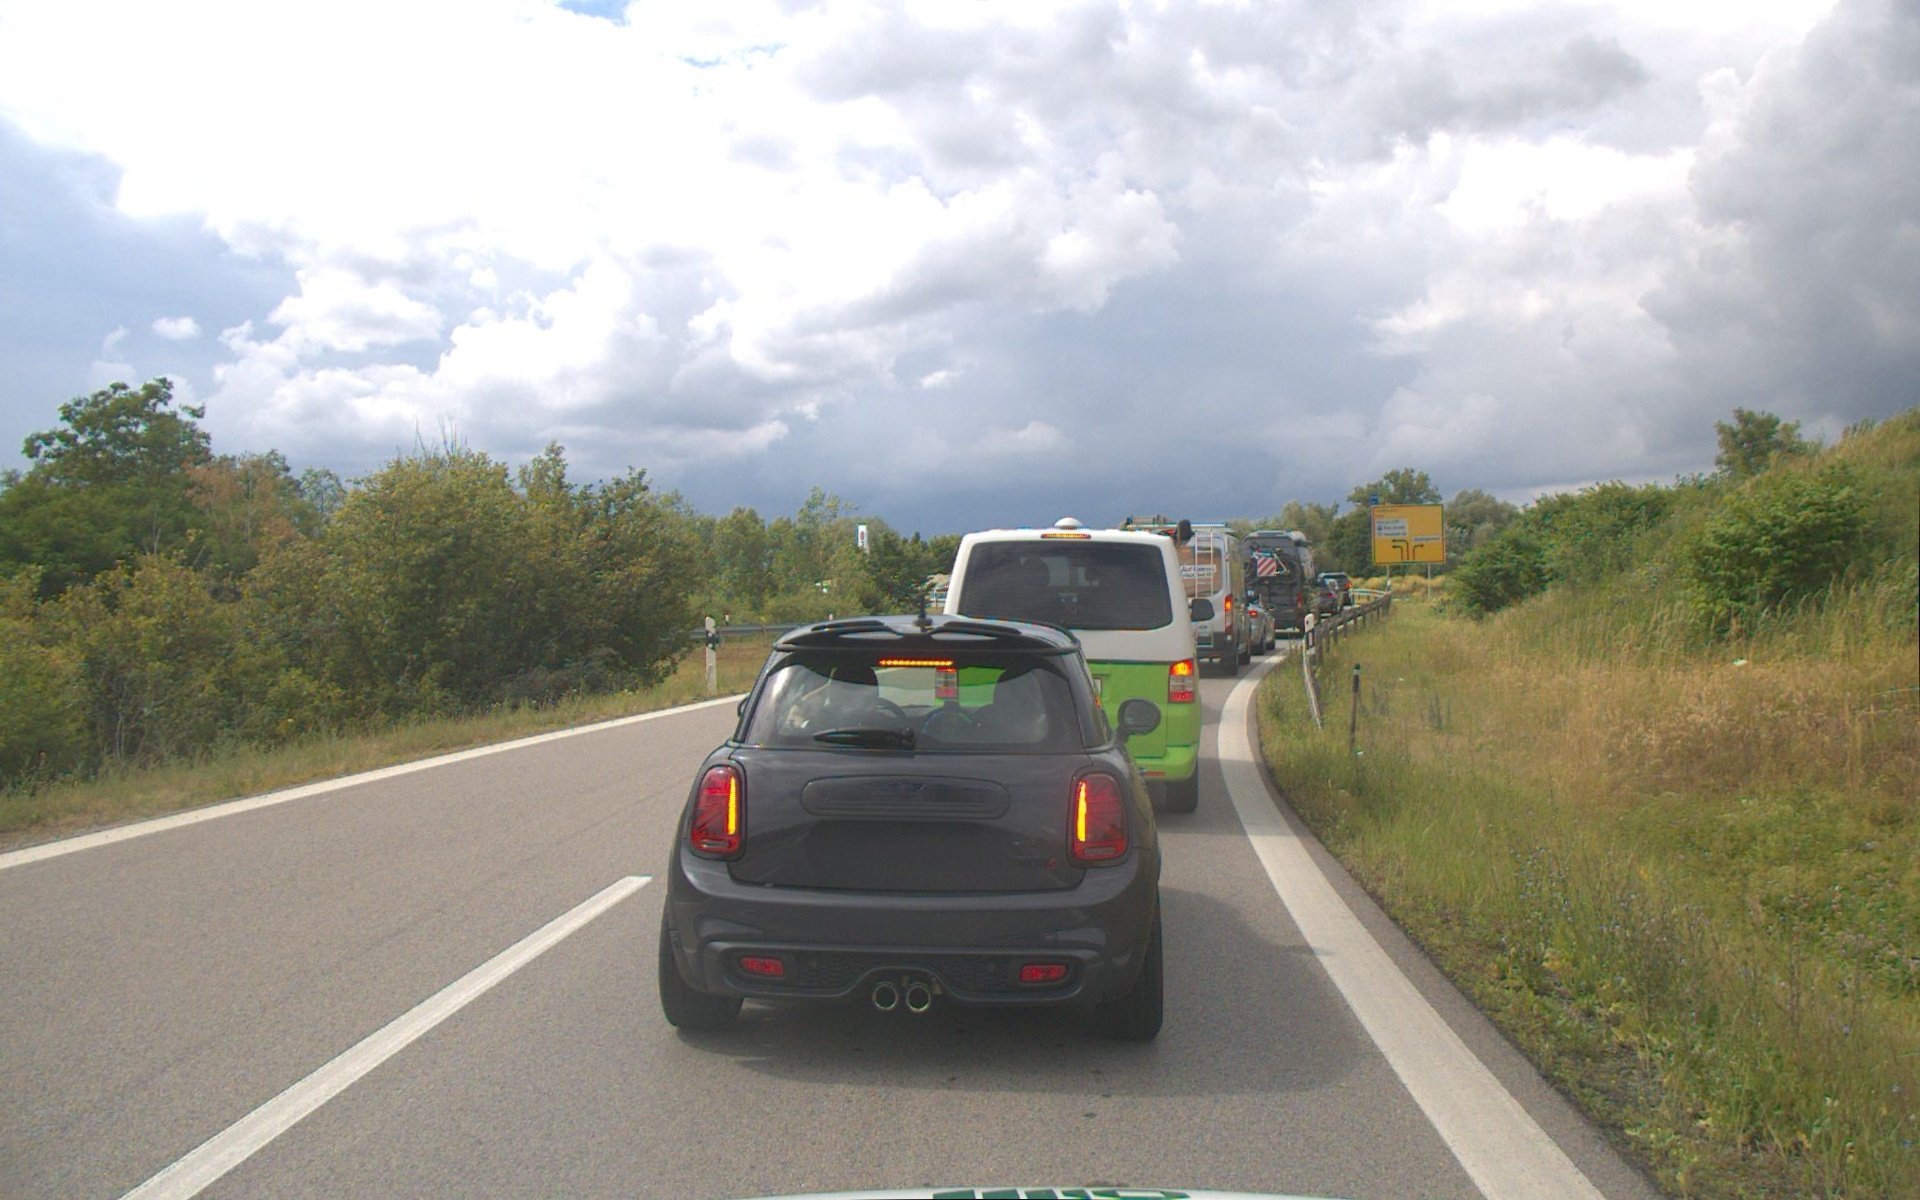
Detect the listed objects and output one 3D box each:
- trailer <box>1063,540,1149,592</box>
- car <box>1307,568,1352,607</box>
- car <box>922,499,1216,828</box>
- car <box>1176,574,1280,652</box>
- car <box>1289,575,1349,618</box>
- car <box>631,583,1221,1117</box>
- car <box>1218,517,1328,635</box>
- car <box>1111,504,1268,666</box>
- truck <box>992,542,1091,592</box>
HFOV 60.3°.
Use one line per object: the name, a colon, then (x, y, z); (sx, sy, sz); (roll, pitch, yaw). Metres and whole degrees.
trailer: (11.574, -2.671, 132.226); (2.996, 3.966, 8.707); (1, 0, -24)
car: (19.160, -0.625, 85.884); (2.050, 1.916, 4.499); (1, 0, 10)
car: (0.967, 0.394, 12.657); (1.870, 2.081, 4.184); (0, 0, 8)
car: (6.158, 0.292, 37.699); (1.951, 1.671, 3.931); (1, 0, 15)
car: (14.117, -0.127, 64.896); (1.853, 1.616, 4.497); (1, 0, 18)
car: (-0.002, 0.728, 6.822); (1.762, 1.573, 3.740); (0, 0, 3)
car: (9.080, -0.626, 47.450); (2.262, 3.122, 6.665); (1, 0, 18)
car: (4.302, -0.236, 30.224); (2.165, 2.668, 5.538); (1, 0, 15)
truck: (6.810, -2.735, 140.280); (2.813, 4.045, 9.905); (1, 0, -35)
